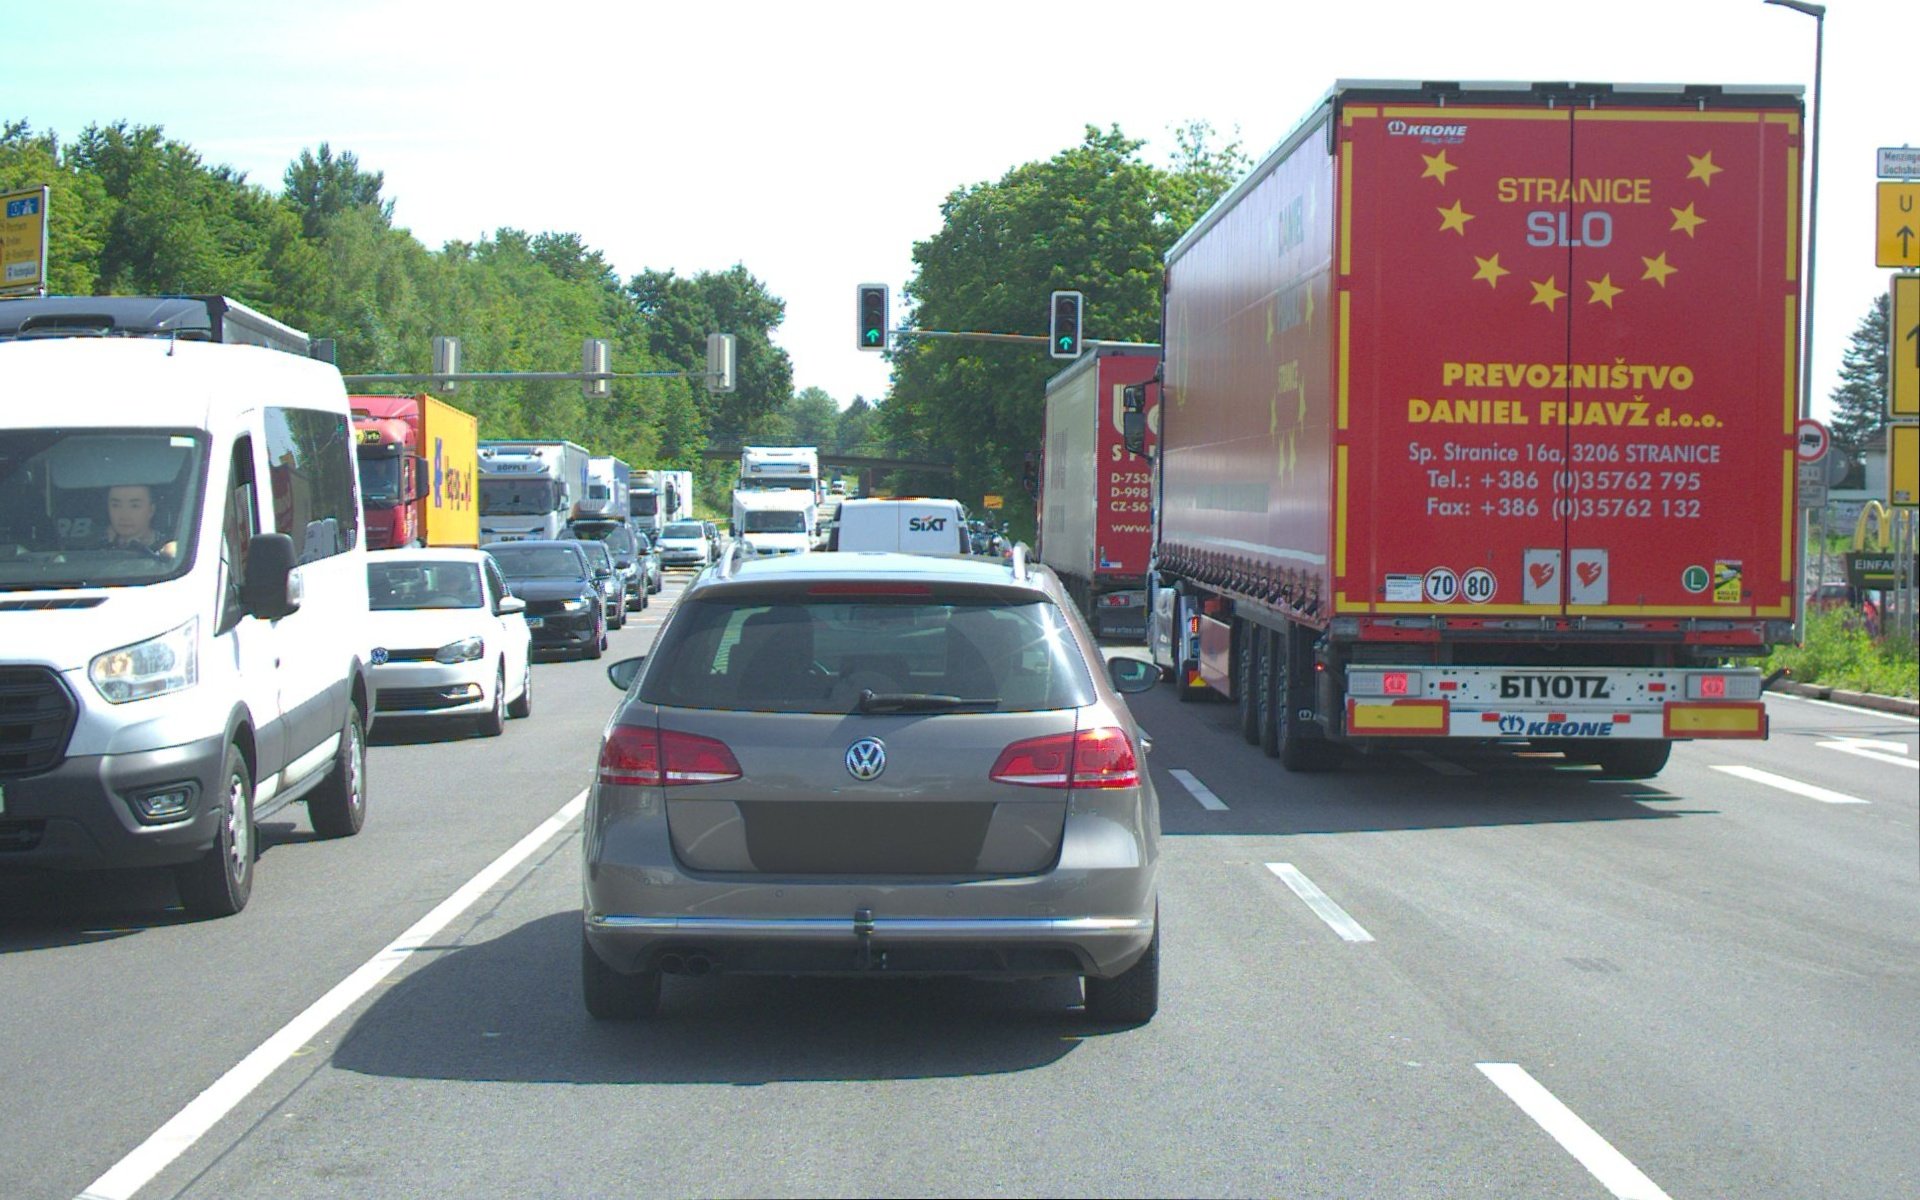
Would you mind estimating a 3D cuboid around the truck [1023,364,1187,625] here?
[{"bbox_3d":[2.344,-1.720,57.053,2.406,4.113,5.522,0,1,-1],"label":"truck"}]

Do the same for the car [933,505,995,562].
[{"bbox_3d":[0.123,-2.400,123.691,1.993,2.007,4.001,0,1,-3],"label":"car"}]

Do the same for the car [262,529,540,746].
[{"bbox_3d":[-4.373,0.238,27.410,1.653,1.550,4.001,-2,1,-2],"label":"car"}]

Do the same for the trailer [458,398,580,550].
[{"bbox_3d":[-12.252,-3.471,95.876,2.645,4.091,6.181,0,1,-1],"label":"trailer"}]

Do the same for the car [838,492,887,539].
[{"bbox_3d":[-4.220,-3.620,147.942,1.993,2.007,4.001,0,1,-3],"label":"car"}]

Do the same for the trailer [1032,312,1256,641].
[{"bbox_3d":[2.507,-1.727,50.751,2.395,4.228,13.079,0,1,-1],"label":"trailer"}]

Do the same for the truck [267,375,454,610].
[{"bbox_3d":[-10.624,-1.884,61.447,2.720,3.984,6.058,0,1,-5],"label":"truck"}]

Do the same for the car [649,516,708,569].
[{"bbox_3d":[-9.693,-2.003,118.608,1.843,1.726,4.589,2,2,-3],"label":"car"}]

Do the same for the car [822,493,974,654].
[{"bbox_3d":[-0.830,-0.362,43.474,1.770,1.930,3.978,0,1,-3],"label":"car"}]

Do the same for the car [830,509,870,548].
[{"bbox_3d":[-5.721,-3.736,178.854,1.993,2.007,4.001,0,1,-3],"label":"car"}]

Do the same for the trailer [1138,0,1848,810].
[{"bbox_3d":[3.207,-1.222,25.080,2.839,4.350,13.168,2,1,-1],"label":"trailer"}]

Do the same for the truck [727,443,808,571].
[{"bbox_3d":[-6.341,-3.030,112.748,2.536,4.074,6.267,0,1,-4],"label":"truck"}]

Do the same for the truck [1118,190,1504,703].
[{"bbox_3d":[3.114,-1.363,32.148,2.870,4.266,5.839,2,1,0],"label":"truck"}]

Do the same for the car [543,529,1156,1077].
[{"bbox_3d":[-0.411,0.517,11.515,1.691,1.508,4.001,0,1,-3],"label":"car"}]

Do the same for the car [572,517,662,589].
[{"bbox_3d":[-8.205,-1.154,82.538,1.921,1.596,4.589,-1,2,-3],"label":"car"}]

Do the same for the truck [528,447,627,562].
[{"bbox_3d":[-13.873,-3.466,125.057,3.187,4.065,6.347,0,1,-3],"label":"truck"}]

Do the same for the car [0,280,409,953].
[{"bbox_3d":[-4.031,-0.010,16.303,2.058,2.501,7.115,0,1,-3],"label":"car"}]

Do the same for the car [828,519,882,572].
[{"bbox_3d":[-4.058,-2.119,132.771,1.993,2.007,4.001,0,1,-3],"label":"car"}]

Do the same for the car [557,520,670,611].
[{"bbox_3d":[-6.600,-0.700,65.869,1.908,1.596,4.589,-1,2,-3],"label":"car"}]

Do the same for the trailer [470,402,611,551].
[{"bbox_3d":[-12.361,-3.570,102.457,2.691,4.133,13.881,0,1,-1],"label":"trailer"}]

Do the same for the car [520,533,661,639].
[{"bbox_3d":[-5.798,-0.250,54.347,1.861,1.519,4.589,-1,2,-2],"label":"car"}]

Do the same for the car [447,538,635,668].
[{"bbox_3d":[-5.067,-0.008,42.038,1.711,1.438,4.379,-2,1,0],"label":"car"}]

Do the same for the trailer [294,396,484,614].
[{"bbox_3d":[-11.298,-1.868,69.108,2.720,3.984,12.237,0,1,-5],"label":"trailer"}]

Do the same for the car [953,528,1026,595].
[{"bbox_3d":[0.873,-1.188,104.843,1.993,2.007,4.001,0,1,-3],"label":"car"}]

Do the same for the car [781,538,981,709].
[{"bbox_3d":[-0.807,0.174,32.683,1.770,1.508,4.001,0,1,-3],"label":"car"}]

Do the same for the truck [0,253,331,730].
[{"bbox_3d":[-8.166,-1.007,33.710,2.710,3.984,9.978,0,1,-3],"label":"truck"}]

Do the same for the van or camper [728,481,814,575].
[{"bbox_3d":[-5.393,-2.072,98.950,2.330,2.591,6.980,0,1,-2],"label":"van or camper"}]

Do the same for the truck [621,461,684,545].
[{"bbox_3d":[-15.089,-4.742,169.343,2.728,3.985,9.621,0,1,-3],"label":"truck"}]
